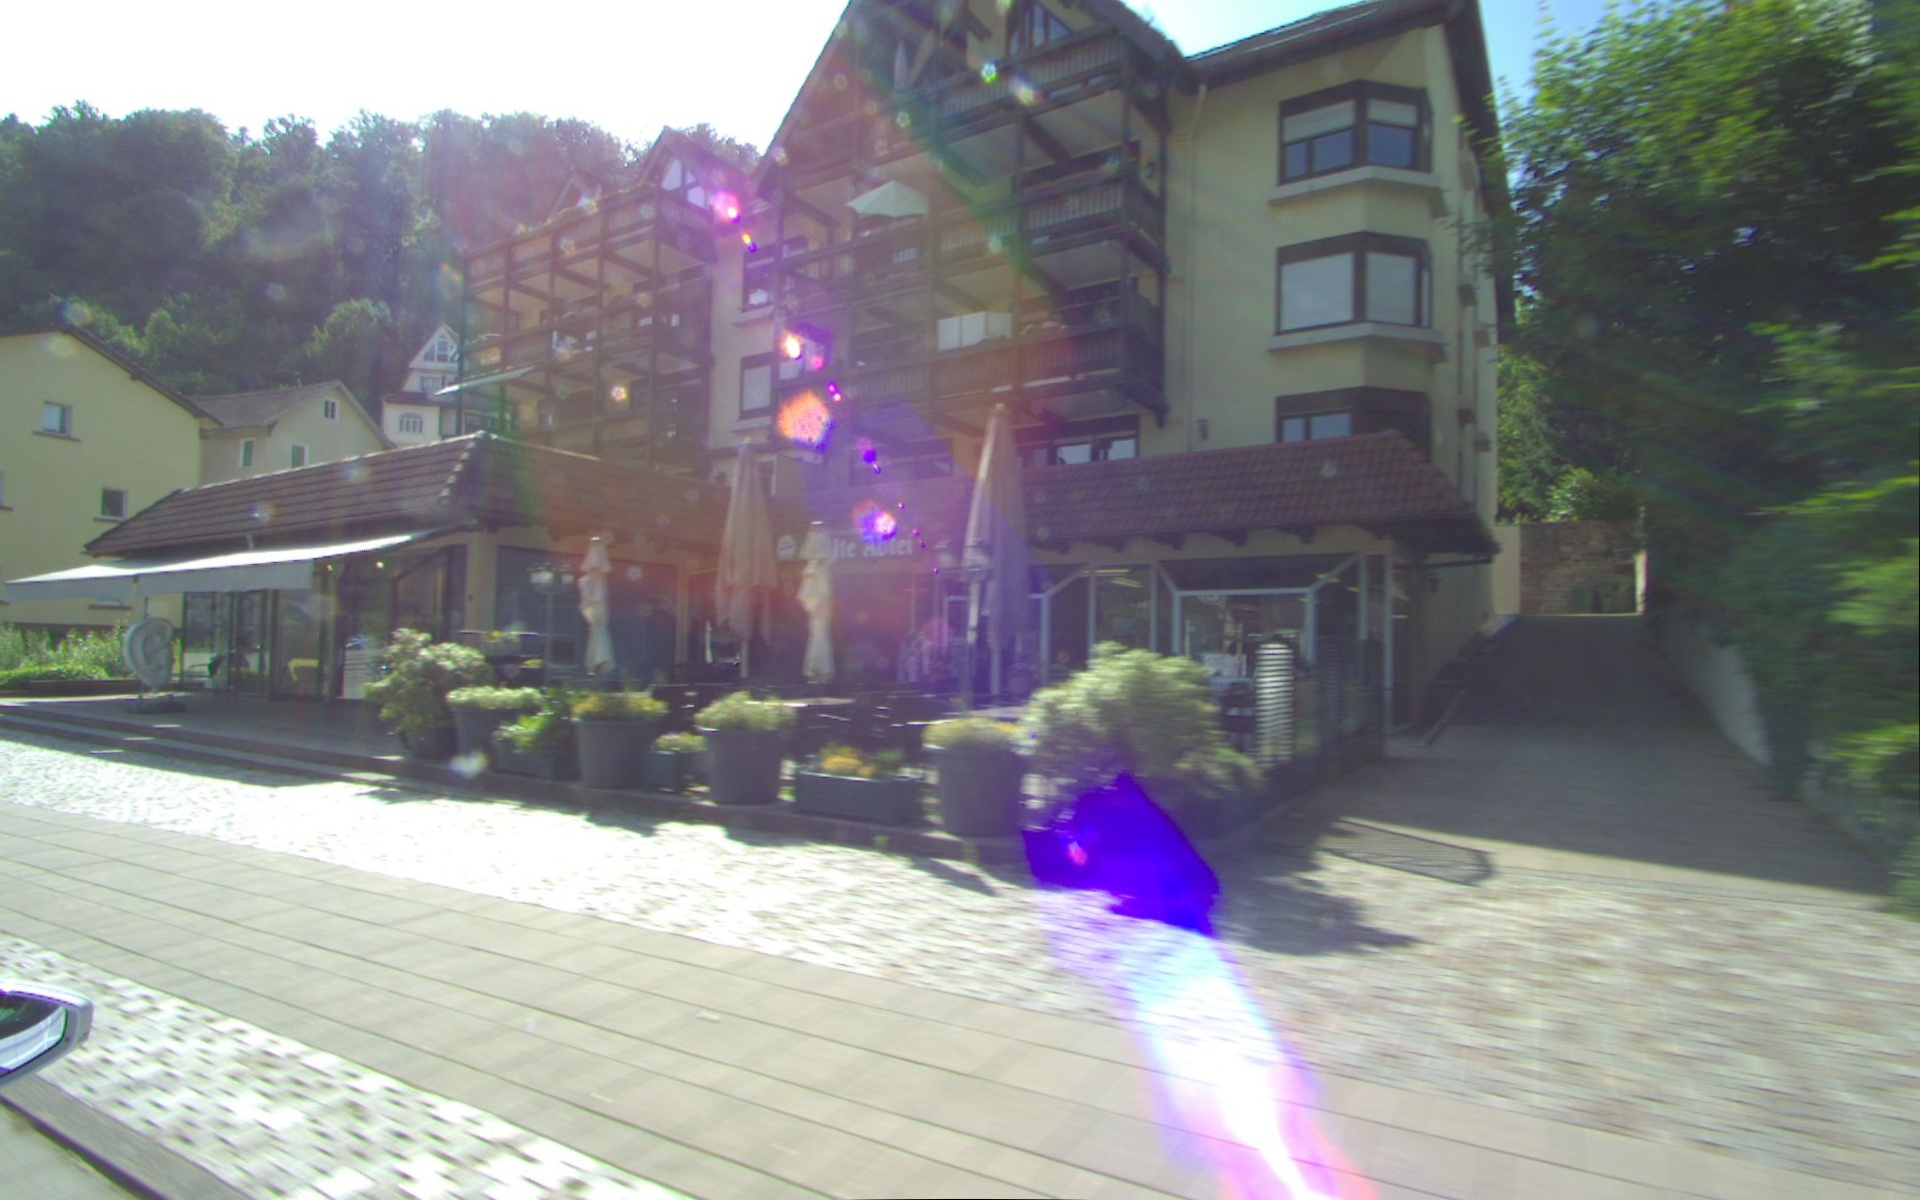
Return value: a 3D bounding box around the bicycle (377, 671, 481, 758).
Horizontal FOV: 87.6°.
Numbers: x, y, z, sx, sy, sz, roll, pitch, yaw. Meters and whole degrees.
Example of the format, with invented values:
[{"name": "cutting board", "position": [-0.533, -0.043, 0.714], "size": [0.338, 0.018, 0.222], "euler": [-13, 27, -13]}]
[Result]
[{"name": "bicycle", "position": [-5.937, 1.247, 11.164], "size": [1.596, 0.874, 0.395], "euler": [-2, -3, 38]}]
